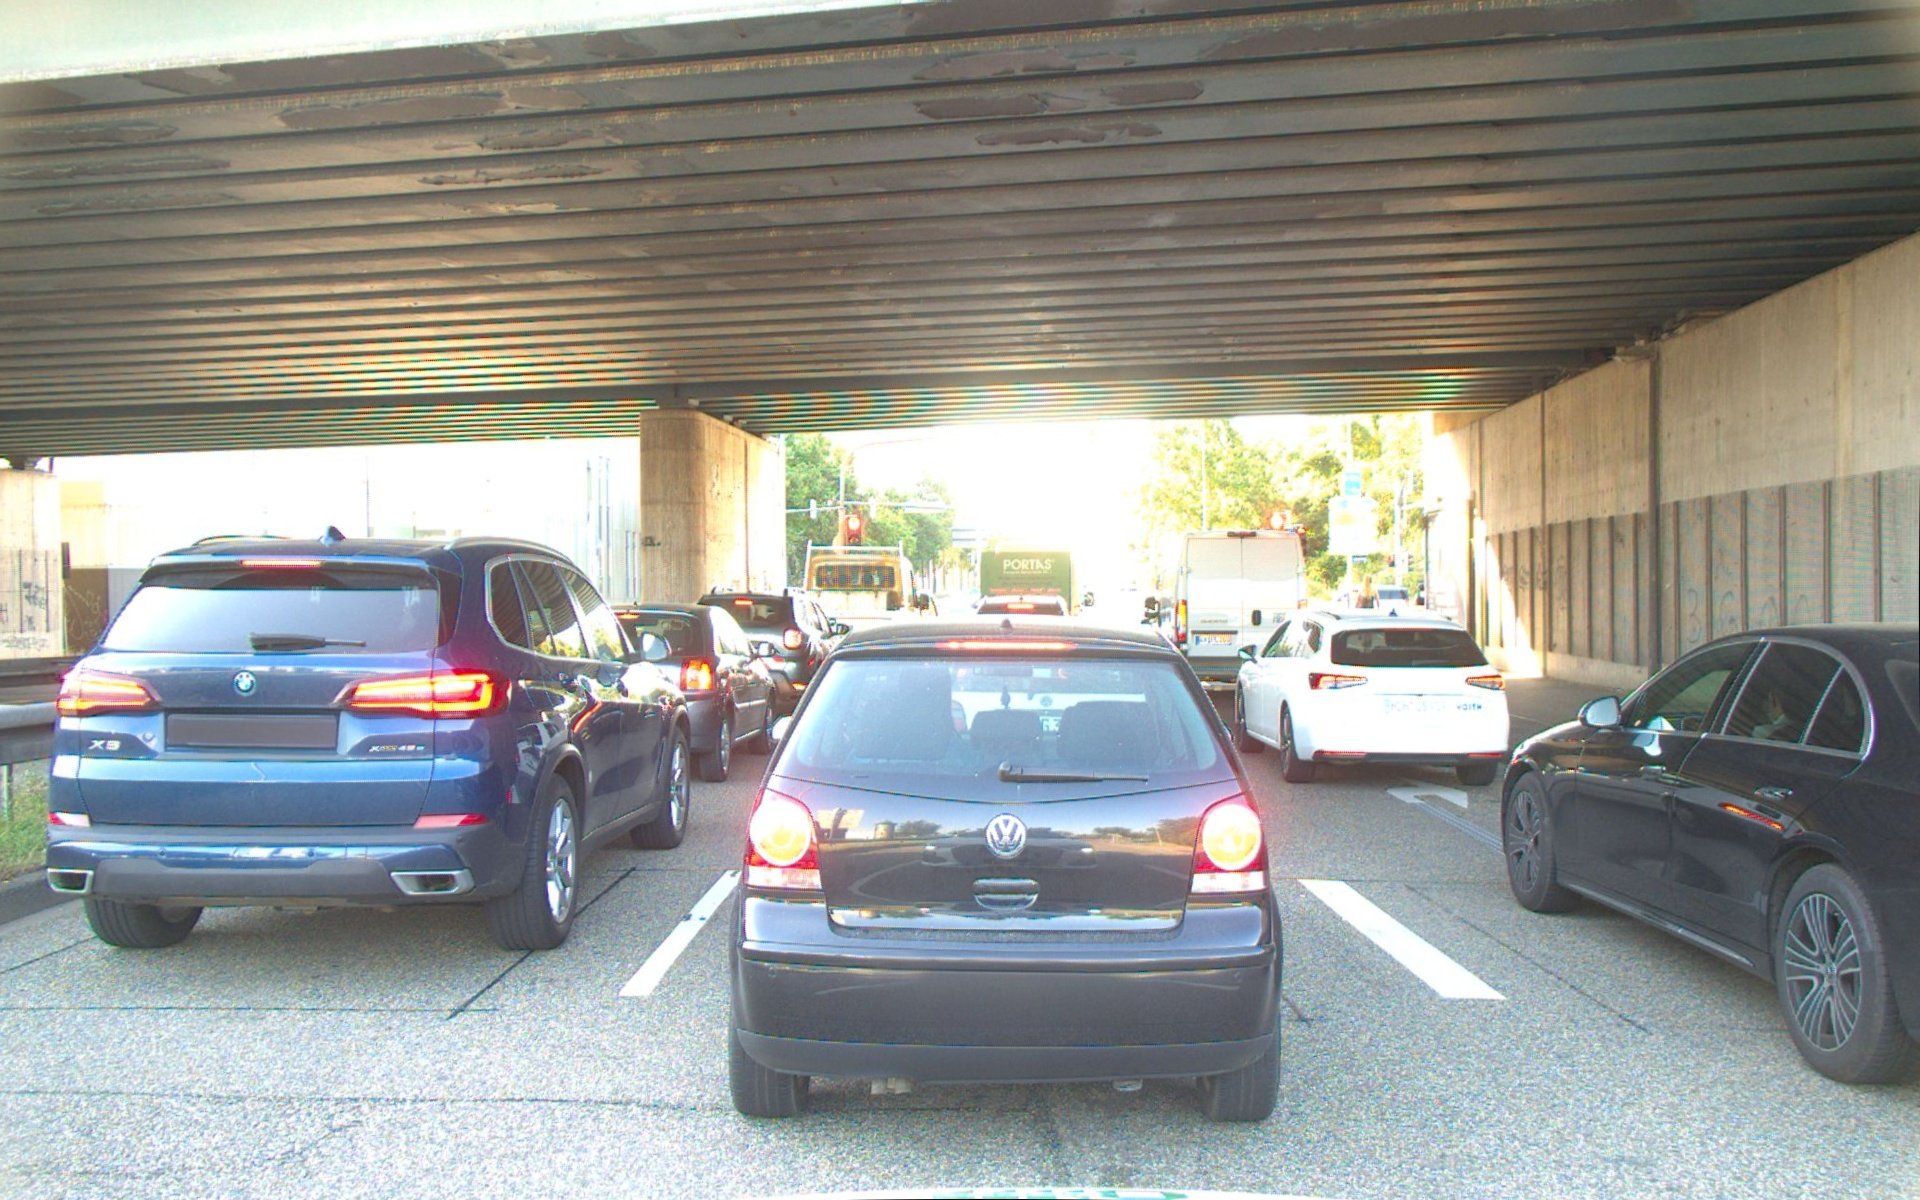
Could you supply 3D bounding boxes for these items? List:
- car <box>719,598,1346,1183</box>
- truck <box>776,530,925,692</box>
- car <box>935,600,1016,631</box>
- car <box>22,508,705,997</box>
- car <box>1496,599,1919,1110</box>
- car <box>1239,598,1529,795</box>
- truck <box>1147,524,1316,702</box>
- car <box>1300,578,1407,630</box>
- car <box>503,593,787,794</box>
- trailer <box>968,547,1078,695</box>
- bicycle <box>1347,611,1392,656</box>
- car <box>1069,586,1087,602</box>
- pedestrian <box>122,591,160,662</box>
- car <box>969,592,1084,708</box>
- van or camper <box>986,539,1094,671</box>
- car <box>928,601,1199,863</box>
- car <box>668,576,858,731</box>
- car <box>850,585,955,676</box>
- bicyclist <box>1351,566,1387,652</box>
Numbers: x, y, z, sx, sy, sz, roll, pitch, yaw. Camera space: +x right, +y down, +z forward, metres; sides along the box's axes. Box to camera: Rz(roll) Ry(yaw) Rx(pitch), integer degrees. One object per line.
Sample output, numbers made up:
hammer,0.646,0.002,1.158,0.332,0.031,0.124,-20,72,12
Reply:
car,0.136,0.750,6.011,1.550,1.433,3.830,0,-1,-2
truck,-1.826,0.218,29.366,1.985,2.601,5.539,0,-1,3
car,0.551,0.552,60.360,2.774,1.100,1.214,0,-1,-13
car,-2.530,0.592,8.288,1.792,1.769,4.461,-1,-1,0
car,3.720,0.767,6.533,1.705,1.480,4.606,0,1,0
car,3.693,0.799,15.077,1.735,1.521,3.832,-2,-1,2
truck,4.257,0.218,26.638,2.067,2.564,4.402,-2,-1,2
car,14.815,0.147,62.443,3.714,1.713,1.666,-4,-1,8
car,-2.668,0.757,14.850,1.804,1.465,3.674,-3,-1,-1
trailer,1.220,0.386,30.511,1.825,2.508,3.833,-2,-1,4
bicycle,9.341,0.766,37.801,0.566,0.980,2.888,-1,-1,6
car,10.964,-0.537,153.229,1.312,1.304,2.892,-3,-1,-2
pedestrian,-22.365,0.727,45.186,0.679,1.937,0.665,0,-1,4
car,0.980,0.714,24.334,1.549,1.559,3.833,0,-1,2
van or camper,1.823,0.149,35.814,1.951,2.616,5.921,0,-1,6
car,0.633,0.757,11.196,1.515,1.448,3.418,2,0,1
car,-2.497,0.661,21.882,1.803,1.749,4.001,-3,-1,2
car,-1.251,0.687,37.582,1.951,1.934,4.002,0,-1,4
bicyclist,9.365,0.212,37.887,0.667,1.940,0.834,0,-1,6
